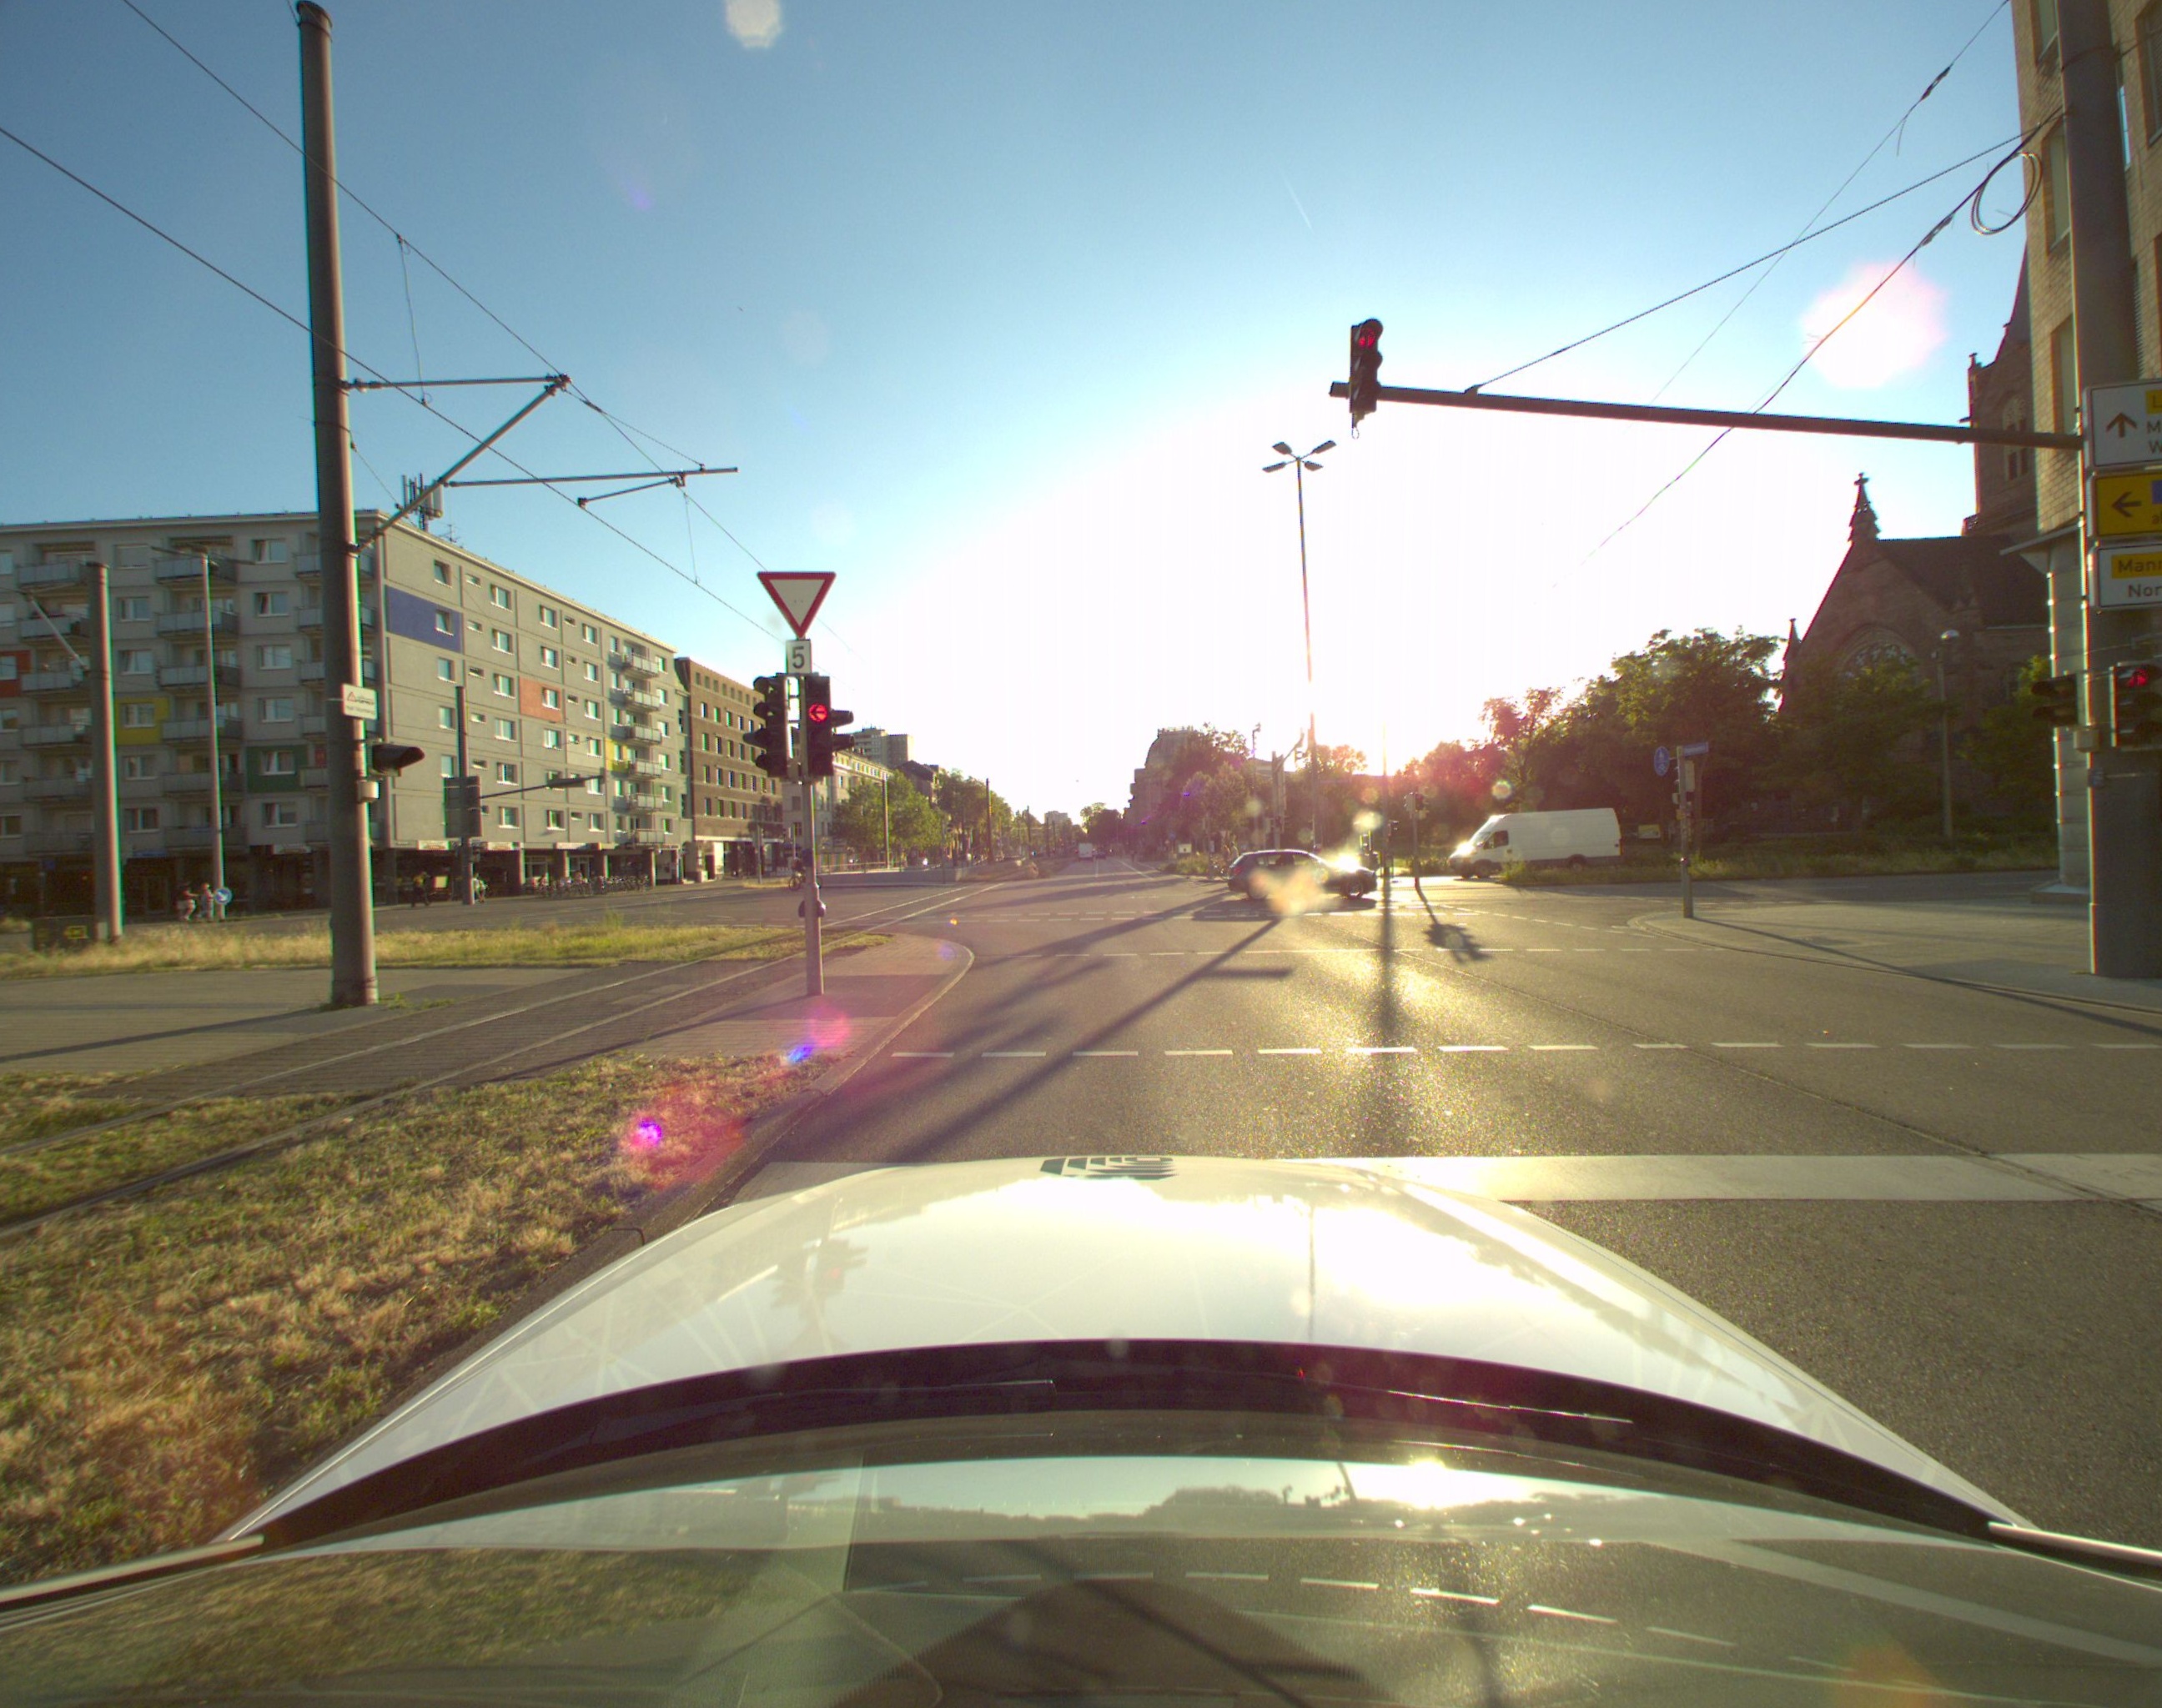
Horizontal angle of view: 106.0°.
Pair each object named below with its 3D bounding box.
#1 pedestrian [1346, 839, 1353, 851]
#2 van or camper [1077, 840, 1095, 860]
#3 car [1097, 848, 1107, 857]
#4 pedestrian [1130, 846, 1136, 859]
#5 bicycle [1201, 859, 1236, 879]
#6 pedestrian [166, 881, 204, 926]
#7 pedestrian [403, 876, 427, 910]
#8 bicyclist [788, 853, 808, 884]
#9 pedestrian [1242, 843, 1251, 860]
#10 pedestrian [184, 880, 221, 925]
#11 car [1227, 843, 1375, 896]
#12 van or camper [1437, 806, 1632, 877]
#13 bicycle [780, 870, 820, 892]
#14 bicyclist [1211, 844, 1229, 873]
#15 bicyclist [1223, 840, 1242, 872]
[{"bbox_3d":[38.073,-1.304,115.531,0.791,1.701,0.804,-2,0,16],"label":"pedestrian"},{"bbox_3d":[0.682,-0.581,112.790,2.254,2.624,4.505,-2,1,2],"label":"van or camper"},{"bbox_3d":[3.591,-0.253,139.148,1.731,1.385,4.002,-2,1,2],"label":"car"},{"bbox_3d":[6.338,-0.171,99.902,0.613,1.475,0.801,-2,1,5],"label":"pedestrian"},{"bbox_3d":[7.242,0.790,42.988,1.711,0.970,0.610,-1,1,2],"label":"bicycle"},{"bbox_3d":[-38.885,2.148,35.351,0.702,1.851,0.737,-2,1,1],"label":"pedestrian"},{"bbox_3d":[-34.792,2.030,42.541,0.732,1.669,0.788,-1,2,41],"label":"pedestrian"},{"bbox_3d":[-13.233,0.677,38.113,0.856,1.442,0.659,-1,1,-20],"label":"bicyclist"},{"bbox_3d":[15.601,-0.253,76.950,0.679,1.611,0.613,-2,1,1],"label":"pedestrian"},{"bbox_3d":[-37.976,2.099,35.209,0.600,1.847,0.822,-2,1,1],"label":"pedestrian"},{"bbox_3d":[6.349,0.432,23.802,3.966,1.434,1.722,-1,2,6],"label":"car"},{"bbox_3d":[19.619,-0.552,35.536,7.013,2.674,2.601,-2,1,3],"label":"van or camper"},{"bbox_3d":[-13.165,1.256,38.194,1.733,0.970,0.700,0,2,-19],"label":"bicycle"},{"bbox_3d":[7.337,0.242,42.975,0.850,1.442,0.664,-2,1,2],"label":"bicyclist"},{"bbox_3d":[7.638,0.083,41.159,0.795,1.571,0.663,-2,1,-1],"label":"bicyclist"}]
